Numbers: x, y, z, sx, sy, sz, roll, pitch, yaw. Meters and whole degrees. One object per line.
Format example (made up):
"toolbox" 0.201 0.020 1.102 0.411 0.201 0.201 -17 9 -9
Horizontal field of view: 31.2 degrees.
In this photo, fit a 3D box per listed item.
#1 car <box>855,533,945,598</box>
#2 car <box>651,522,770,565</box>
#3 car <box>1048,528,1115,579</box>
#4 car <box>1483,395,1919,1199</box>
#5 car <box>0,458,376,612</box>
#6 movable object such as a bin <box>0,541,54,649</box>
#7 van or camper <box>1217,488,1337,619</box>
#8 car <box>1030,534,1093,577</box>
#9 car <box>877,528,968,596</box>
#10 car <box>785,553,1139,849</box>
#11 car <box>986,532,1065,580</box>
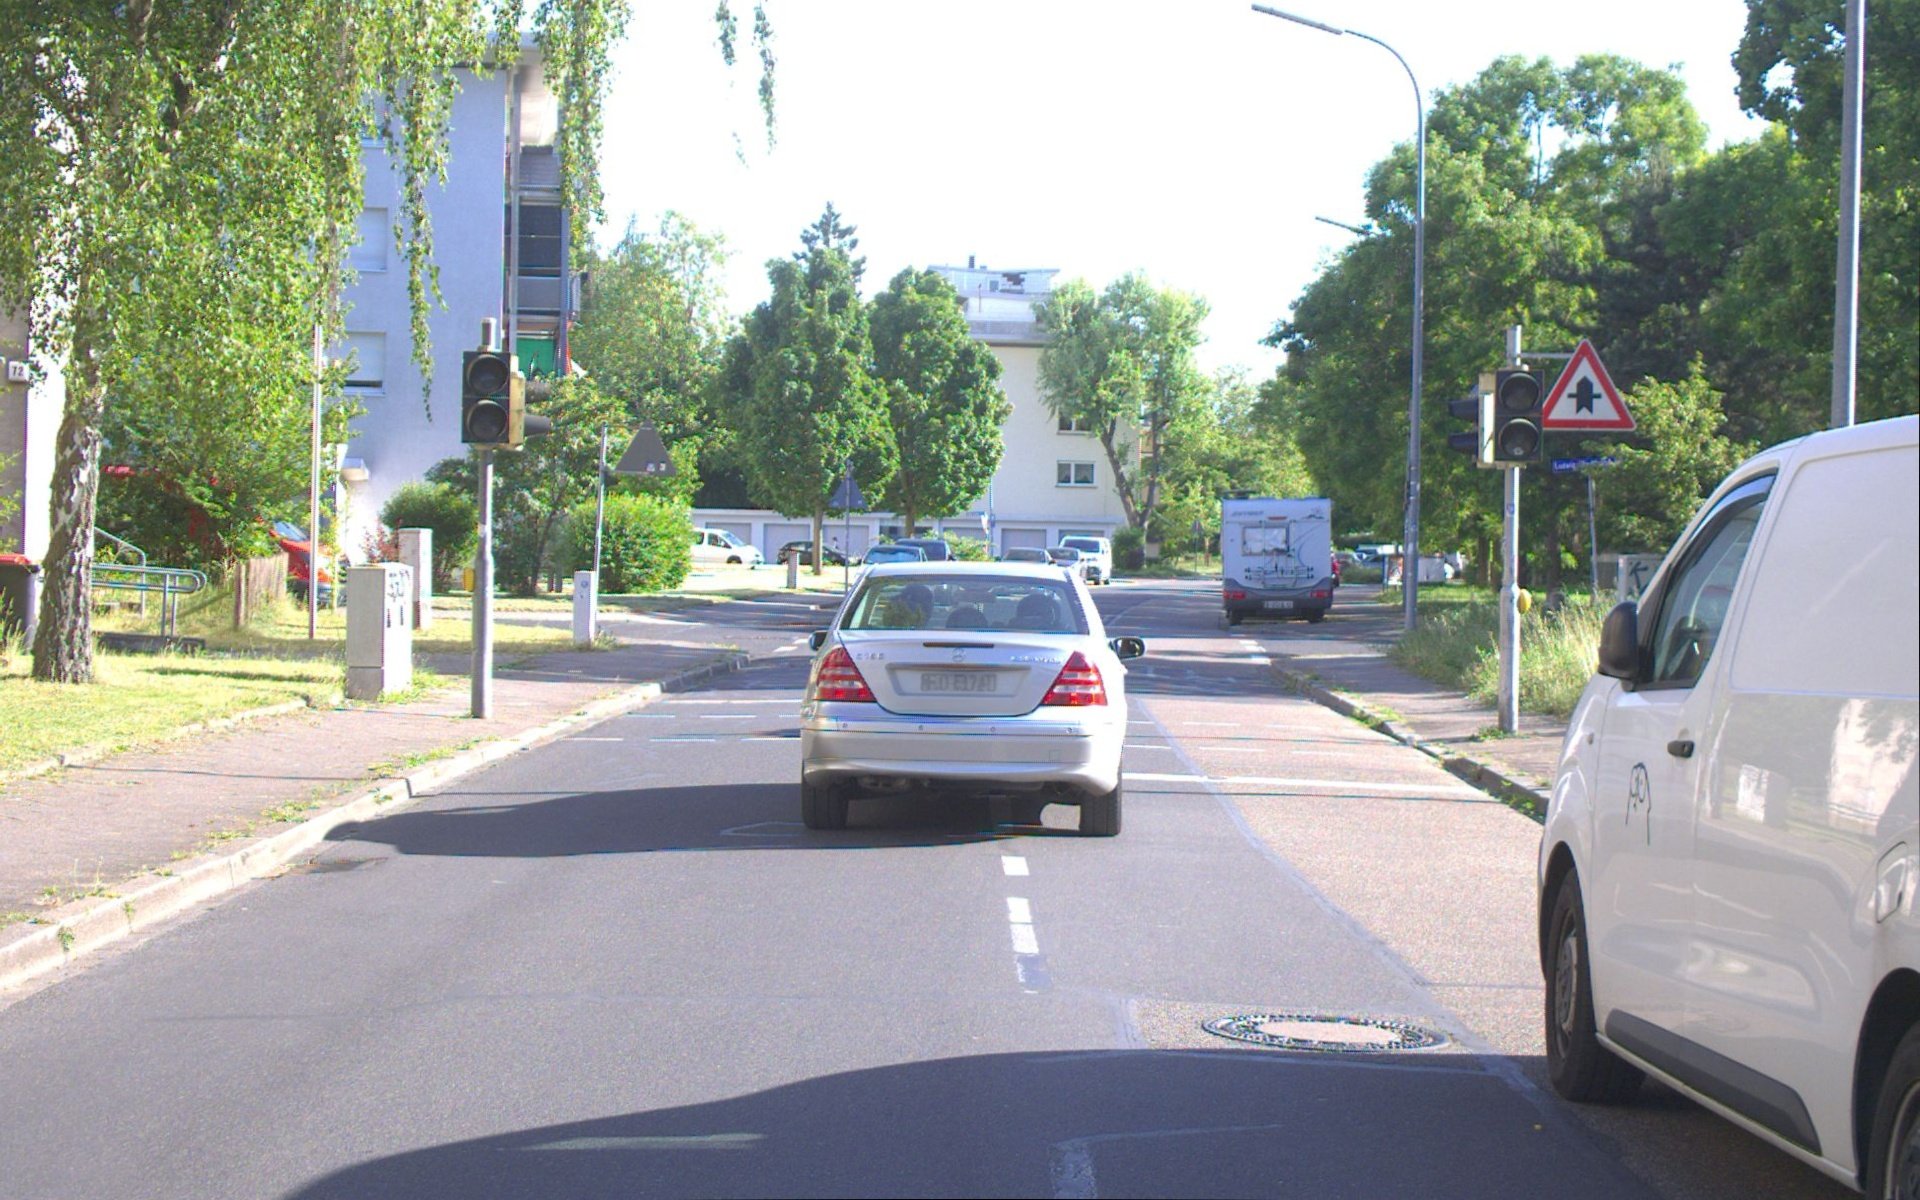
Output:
"car" -1.417 -0.854 82.958 1.647 1.461 4.330 2 1 5
"car" -11.717 -2.677 161.765 5.109 1.944 2.235 1 1 16
"car" 4.863 -1.850 136.974 2.015 1.879 5.189 3 1 9
"car" 2.641 0.562 8.113 1.915 1.865 4.866 2 1 -1
"car" -12.762 -1.099 56.483 5.905 2.420 2.213 1 2 2
"movable object such as a bin" -9.243 -0.050 33.848 0.563 1.050 0.557 1 1 -20
"van or camper" 6.699 -1.008 73.327 2.352 2.587 6.425 -2 1 4
"car" 3.877 -1.664 130.557 1.834 1.513 4.220 3 1 8
"car" -0.952 -1.017 89.228 1.914 1.598 4.812 4 1 4
"car" 0.033 0.480 18.807 1.733 1.429 3.438 1 1 1
"car" 2.272 -1.520 117.836 2.035 1.487 5.255 4 1 7
